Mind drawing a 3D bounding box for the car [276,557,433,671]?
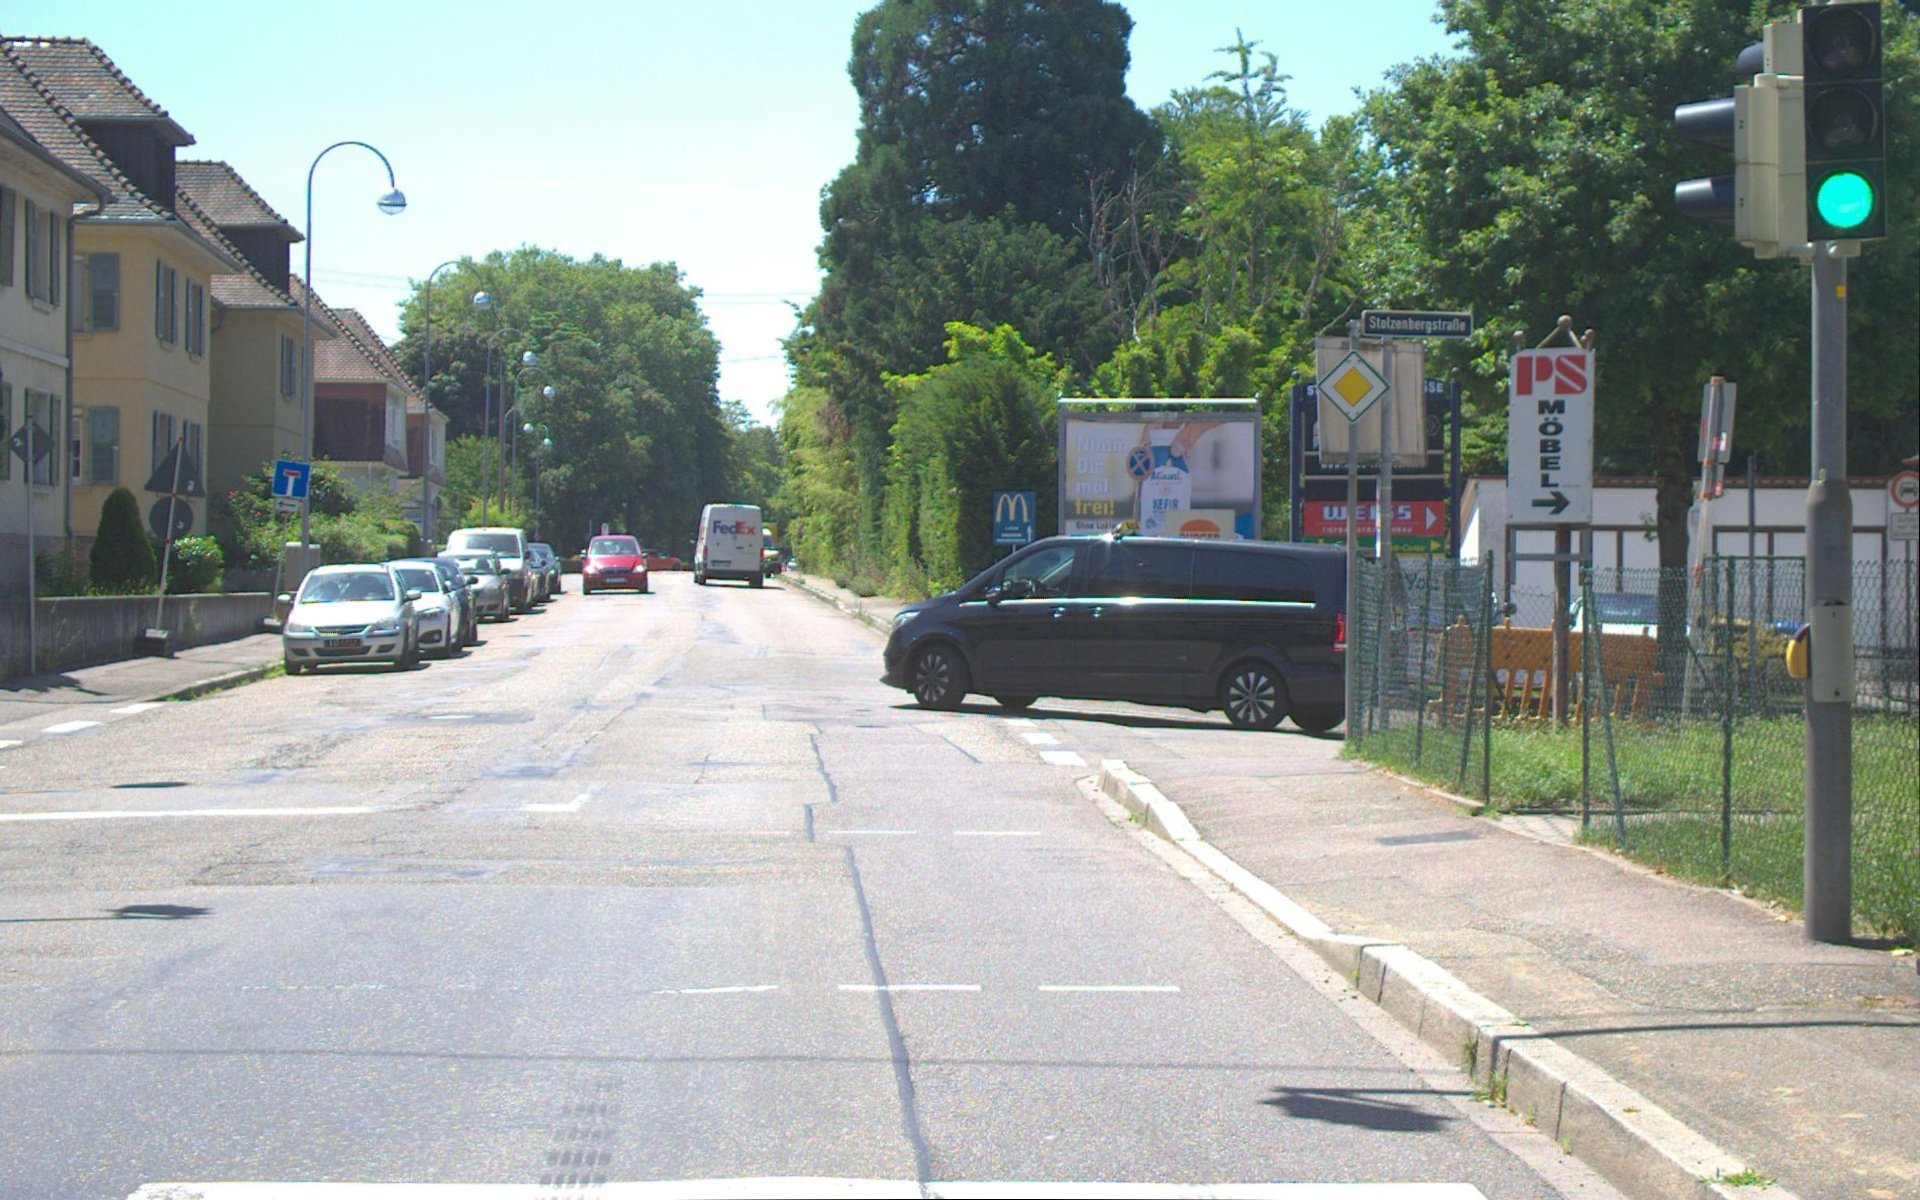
[{"bbox_3d":[-8.214,0.159,46.895,1.759,1.442,3.925,-1,1,-5],"label":"car"}]

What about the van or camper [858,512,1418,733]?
[{"bbox_3d":[1.770,0.182,34.595,5.260,2.007,1.906,2,1,25],"label":"van or camper"}]

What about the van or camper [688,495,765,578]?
[{"bbox_3d":[-7.395,-1.995,108.614,2.262,2.519,4.760,-1,1,-5],"label":"van or camper"}]

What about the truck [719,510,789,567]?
[{"bbox_3d":[-8.394,-2.471,139.568,2.355,2.251,6.093,0,1,-8],"label":"truck"}]

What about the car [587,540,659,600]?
[{"bbox_3d":[-9.042,-0.812,92.485,1.814,1.560,3.697,-1,1,-4],"label":"car"}]

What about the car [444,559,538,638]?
[{"bbox_3d":[-9.602,-0.059,70.605,1.686,1.520,4.063,1,1,-5],"label":"car"}]

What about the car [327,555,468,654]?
[{"bbox_3d":[-8.476,0.038,52.061,1.794,1.397,4.220,-1,1,-5],"label":"car"}]

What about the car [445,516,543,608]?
[{"bbox_3d":[-10.522,-0.894,77.834,1.877,1.956,4.627,-2,1,-4],"label":"car"}]

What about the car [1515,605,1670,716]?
[{"bbox_3d":[8.011,0.746,43.748,1.712,1.265,3.384,1,1,7],"label":"car"}]
